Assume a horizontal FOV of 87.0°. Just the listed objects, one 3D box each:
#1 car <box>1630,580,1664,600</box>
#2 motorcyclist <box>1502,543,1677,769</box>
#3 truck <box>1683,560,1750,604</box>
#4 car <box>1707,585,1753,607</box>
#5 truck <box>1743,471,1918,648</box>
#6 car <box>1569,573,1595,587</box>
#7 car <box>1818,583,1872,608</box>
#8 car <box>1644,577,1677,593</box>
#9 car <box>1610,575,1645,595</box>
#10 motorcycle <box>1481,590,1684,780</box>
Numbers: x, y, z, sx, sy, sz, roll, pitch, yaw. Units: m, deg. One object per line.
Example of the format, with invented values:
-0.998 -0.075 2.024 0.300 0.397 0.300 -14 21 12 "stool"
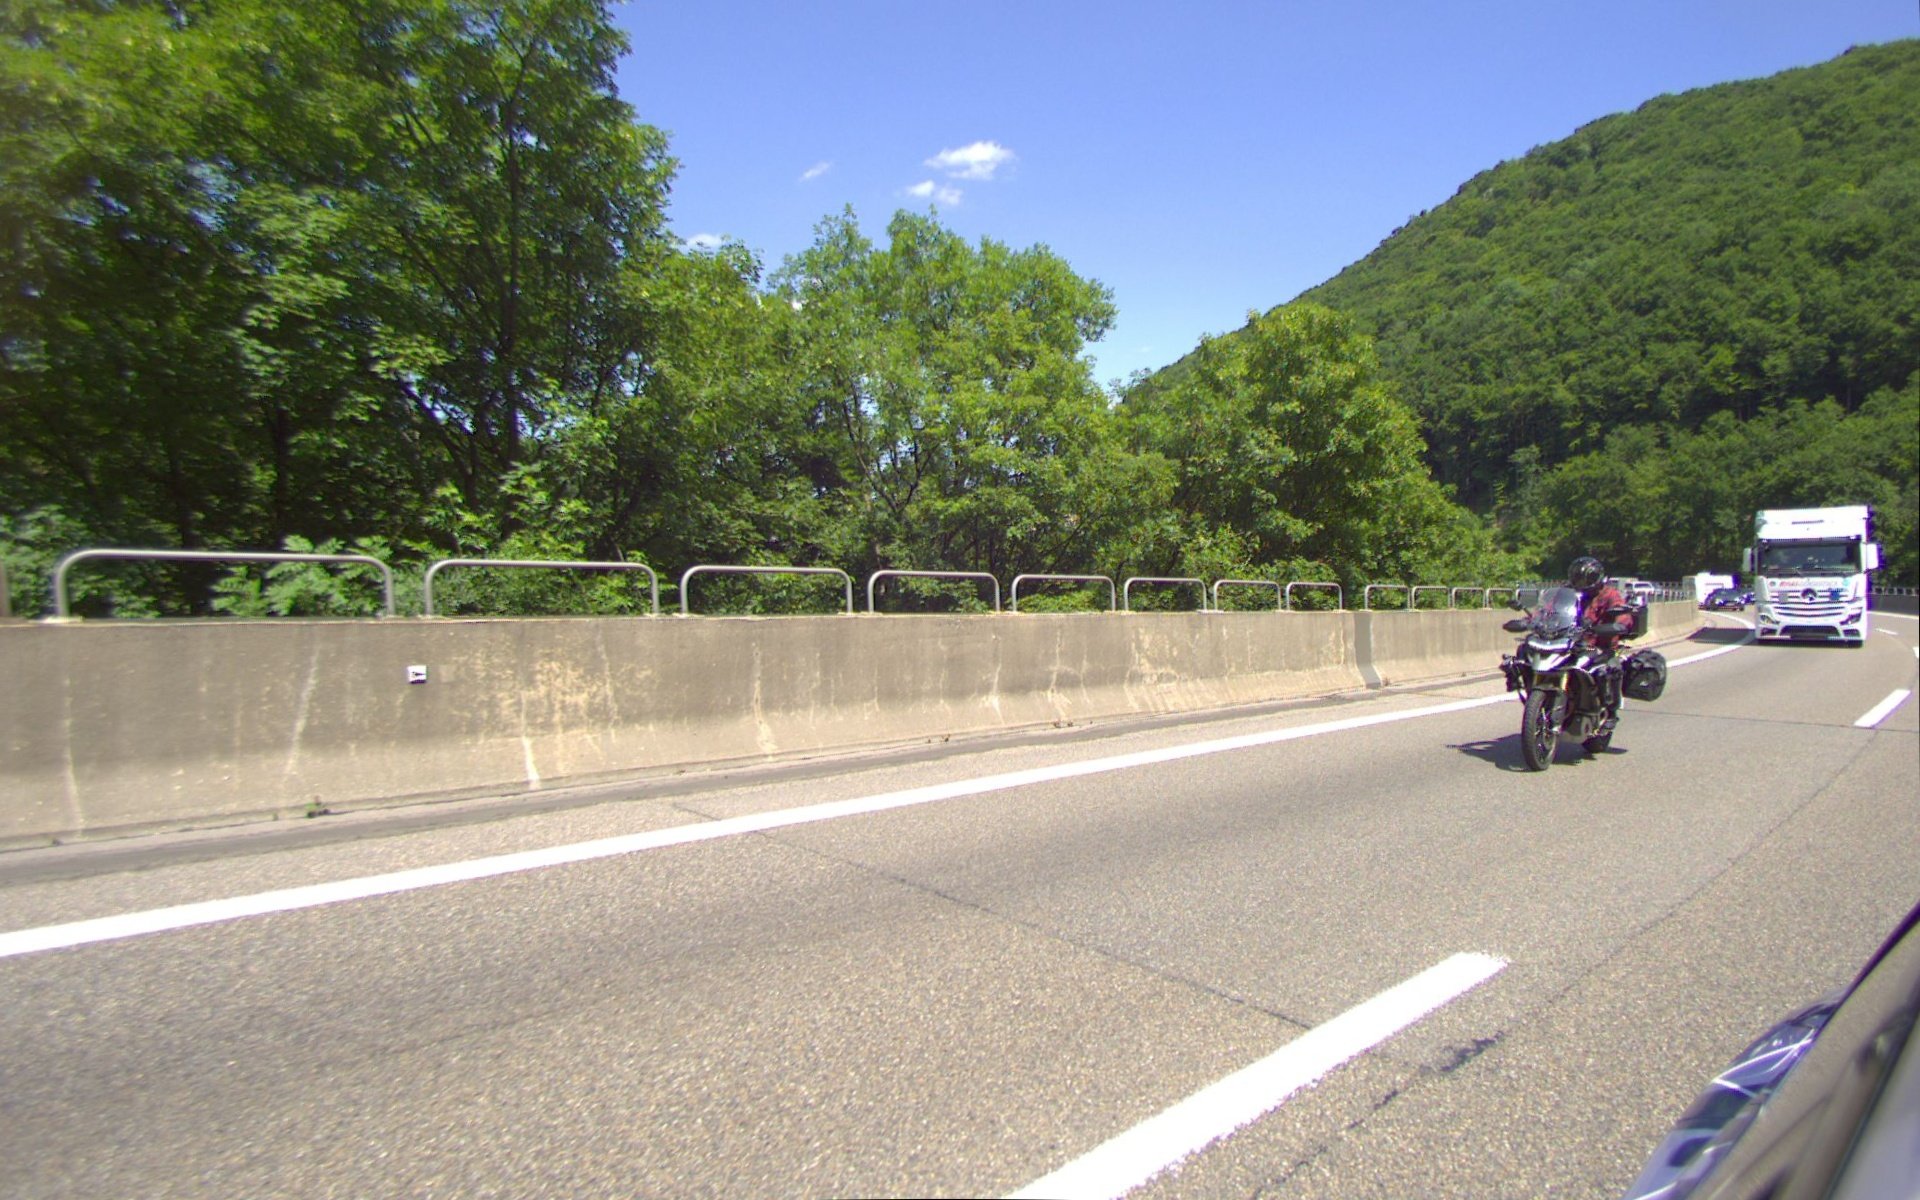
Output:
70.172 -1.045 103.449 1.975 2.039 3.974 1 1 20 "car"
5.602 0.438 8.992 1.061 1.823 1.316 0 1 45 "motorcyclist"
57.563 -1.344 77.173 2.590 3.141 6.799 0 1 24 "truck"
54.993 -0.287 72.355 1.738 1.507 3.949 1 1 25 "car"
26.445 -1.060 31.491 2.954 4.184 16.486 0 1 37 "truck"
86.685 -2.756 141.079 1.972 1.816 3.980 0 1 16 "car"
55.722 -0.277 63.790 1.741 1.507 3.942 0 1 29 "car"
79.157 -1.676 114.403 1.973 1.816 3.977 0 1 18 "car"
71.999 -1.632 109.206 1.972 2.039 3.981 1 1 15 "car"
5.614 0.638 9.028 0.973 1.437 2.638 0 1 45 "motorcycle"
